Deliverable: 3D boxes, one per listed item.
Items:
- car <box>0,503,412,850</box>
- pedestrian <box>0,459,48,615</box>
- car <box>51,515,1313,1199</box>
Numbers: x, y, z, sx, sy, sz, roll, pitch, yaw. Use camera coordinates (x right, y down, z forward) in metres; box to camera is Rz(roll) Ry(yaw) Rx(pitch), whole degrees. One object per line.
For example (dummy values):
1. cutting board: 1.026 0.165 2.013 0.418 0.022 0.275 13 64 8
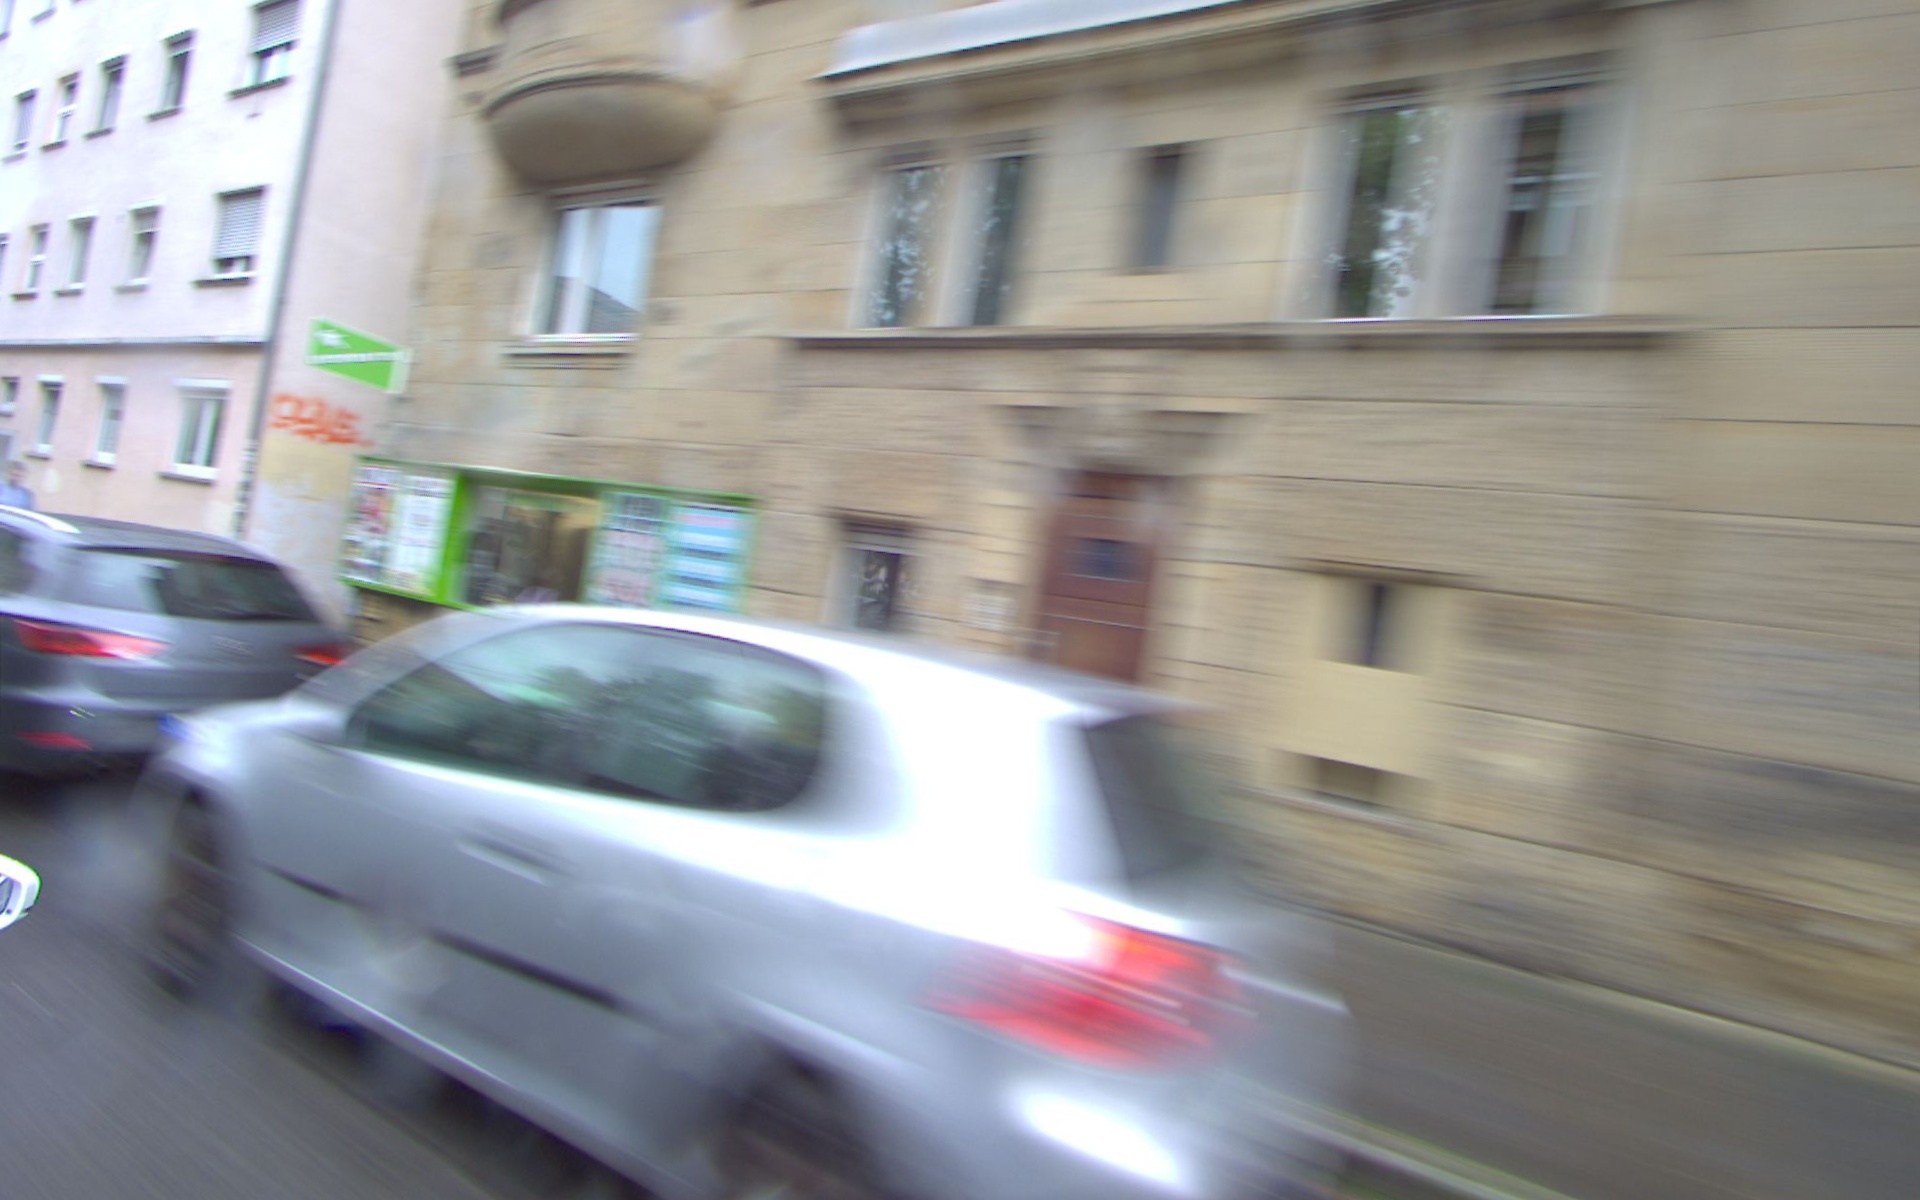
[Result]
1. car: -5.432 0.203 6.039 4.238 1.426 1.673 7 -1 30
2. pedestrian: -11.402 -0.764 11.888 0.677 1.785 0.608 7 1 31
3. car: -1.084 0.700 3.336 3.889 1.451 1.671 7 -1 30
